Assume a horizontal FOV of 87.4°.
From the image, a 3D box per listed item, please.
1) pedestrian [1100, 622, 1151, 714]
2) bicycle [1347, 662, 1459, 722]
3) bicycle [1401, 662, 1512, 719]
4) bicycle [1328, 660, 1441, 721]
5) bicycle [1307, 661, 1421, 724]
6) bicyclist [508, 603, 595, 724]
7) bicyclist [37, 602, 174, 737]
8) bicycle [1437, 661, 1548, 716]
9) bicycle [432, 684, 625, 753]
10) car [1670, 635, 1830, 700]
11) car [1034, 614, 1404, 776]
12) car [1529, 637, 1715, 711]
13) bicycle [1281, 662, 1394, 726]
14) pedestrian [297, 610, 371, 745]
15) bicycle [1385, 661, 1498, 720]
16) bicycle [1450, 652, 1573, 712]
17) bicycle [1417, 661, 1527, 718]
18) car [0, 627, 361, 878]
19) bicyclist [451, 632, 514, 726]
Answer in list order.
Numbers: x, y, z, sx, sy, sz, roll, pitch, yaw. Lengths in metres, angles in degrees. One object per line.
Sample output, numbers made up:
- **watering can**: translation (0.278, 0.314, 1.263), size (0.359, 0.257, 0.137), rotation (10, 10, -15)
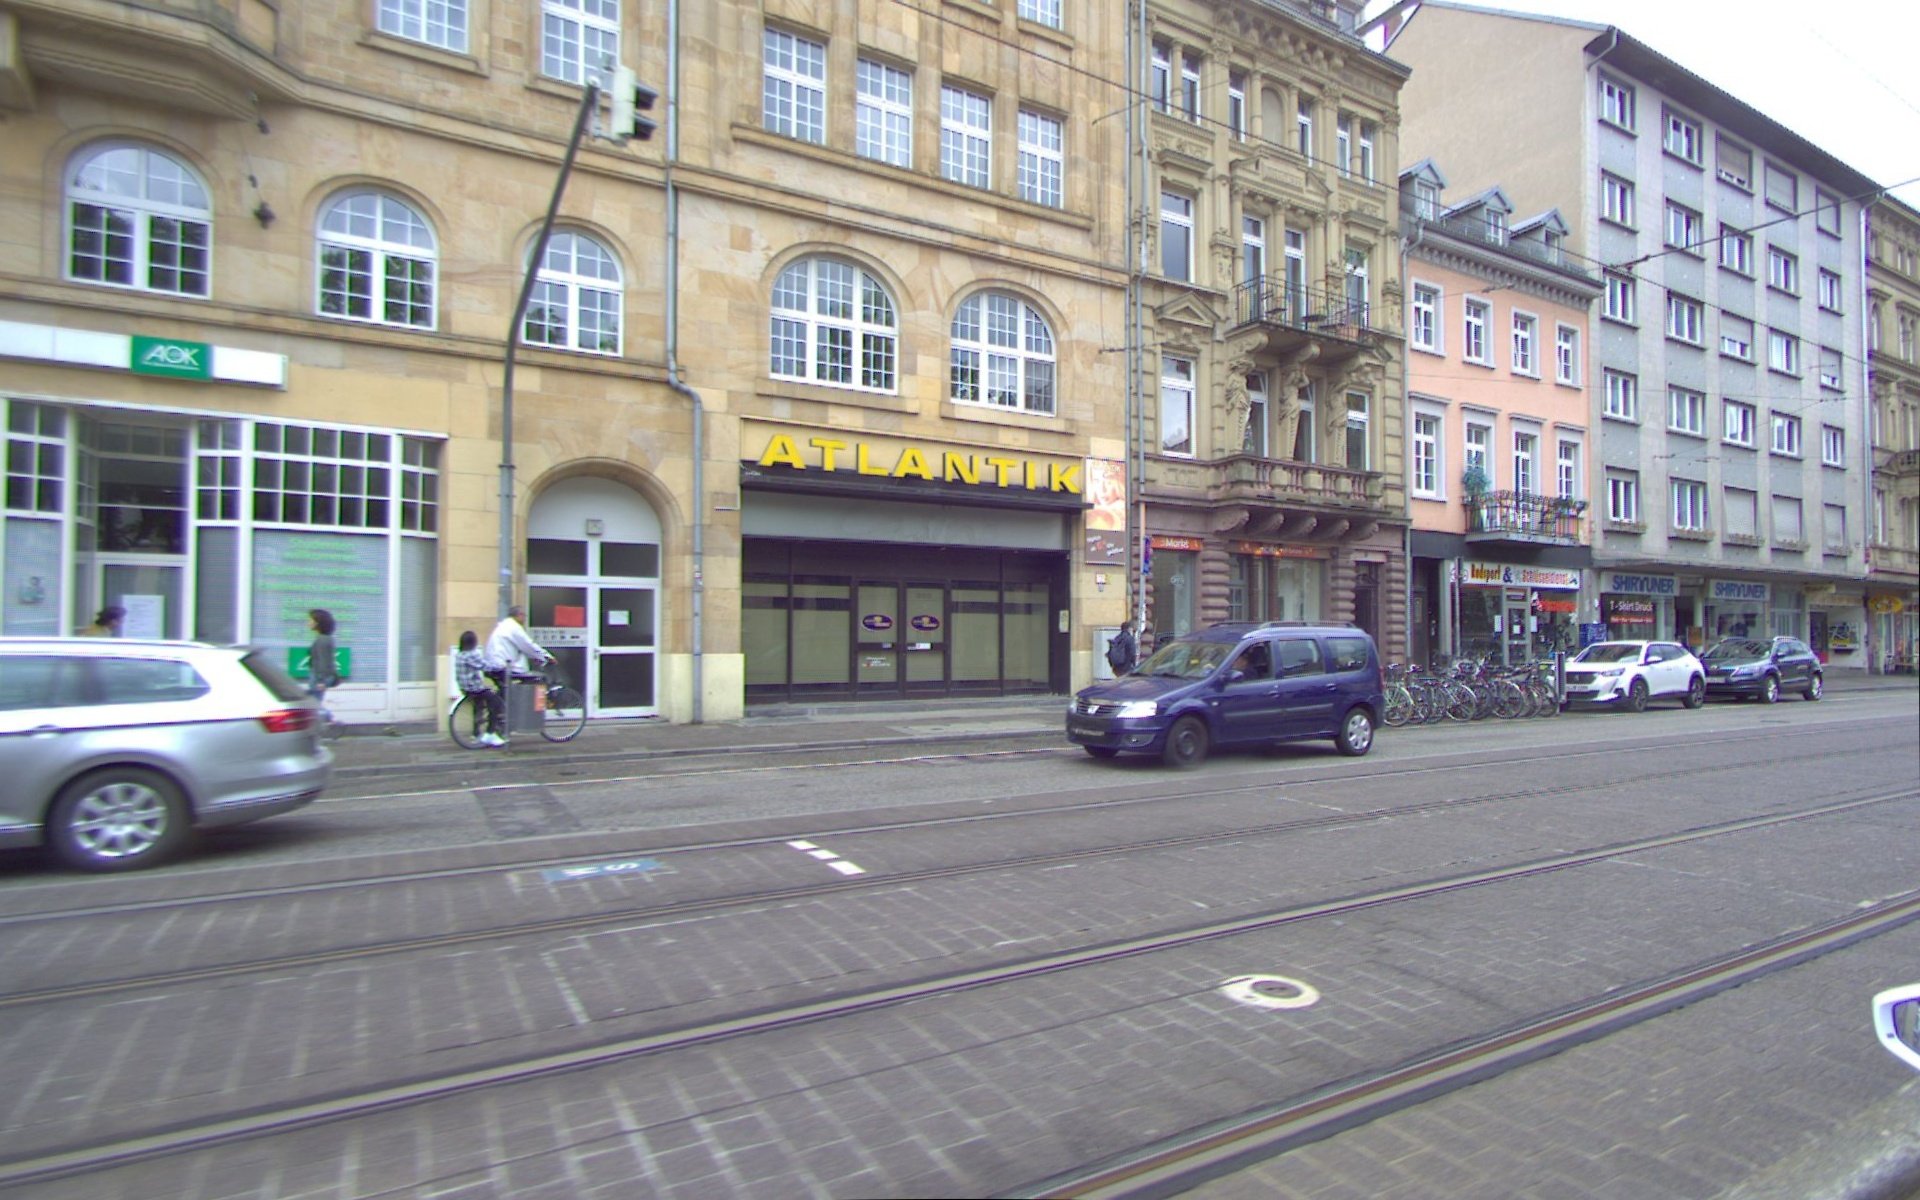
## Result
- **pedestrian**: translation (2.972, 1.206, 18.025), size (0.710, 1.619, 0.565), rotation (1, -2, -31)
- **bicycle**: translation (8.255, 1.692, 18.792), size (0.459, 1.014, 1.952), rotation (1, -2, -37)
- **bicycle**: translation (9.650, 1.735, 19.600), size (0.459, 1.014, 1.952), rotation (1, -2, -37)
- **bicycle**: translation (7.799, 1.645, 18.524), size (0.459, 1.014, 1.952), rotation (1, -2, -37)
- **bicycle**: translation (7.244, 1.638, 18.104), size (0.459, 1.014, 1.952), rotation (1, -2, -37)
- **bicyclist**: translation (-5.312, 0.806, 13.053), size (0.961, 1.507, 0.608), rotation (1, -2, -30)
- **bicyclist**: translation (-8.888, 0.705, 10.489), size (0.961, 1.341, 0.608), rotation (1, -2, -30)
- **bicycle**: translation (10.686, 1.761, 20.221), size (0.459, 1.014, 1.952), rotation (1, -2, -37)
- **bicycle**: translation (-5.514, 1.491, 12.896), size (2.224, 0.755, 0.579), rotation (1, -2, -31)
- **car**: translation (20.064, 1.669, 25.479), size (4.351, 1.524, 1.767), rotation (1, -2, -31)
- **car**: translation (3.279, 1.063, 12.445), size (4.560, 1.693, 1.751), rotation (1, -2, -30)
- **car**: translation (14.860, 1.594, 22.492), size (4.351, 1.524, 1.767), rotation (1, -2, -31)
- **bicycle**: translation (6.608, 1.632, 17.681), size (0.459, 1.014, 1.908), rotation (1, -2, -37)
- **pedestrian**: translation (-7.820, 0.948, 12.577), size (0.733, 1.634, 0.682), rotation (1, -2, -30)
- **bicycle**: translation (9.132, 1.697, 19.115), size (0.459, 1.014, 1.952), rotation (1, -2, -37)
- **bicycle**: translation (11.333, 1.661, 20.722), size (0.499, 1.141, 2.214), rotation (1, -2, -37)
- **bicycle**: translation (10.113, 1.747, 19.915), size (0.459, 1.014, 1.952), rotation (1, -2, -37)
- **car**: translation (-6.503, 0.905, 6.383), size (4.560, 1.468, 1.751), rotation (1, -2, -30)
- **bicyclist**: translation (-6.006, 0.972, 12.623), size (0.652, 1.132, 0.608), rotation (1, -2, -30)
